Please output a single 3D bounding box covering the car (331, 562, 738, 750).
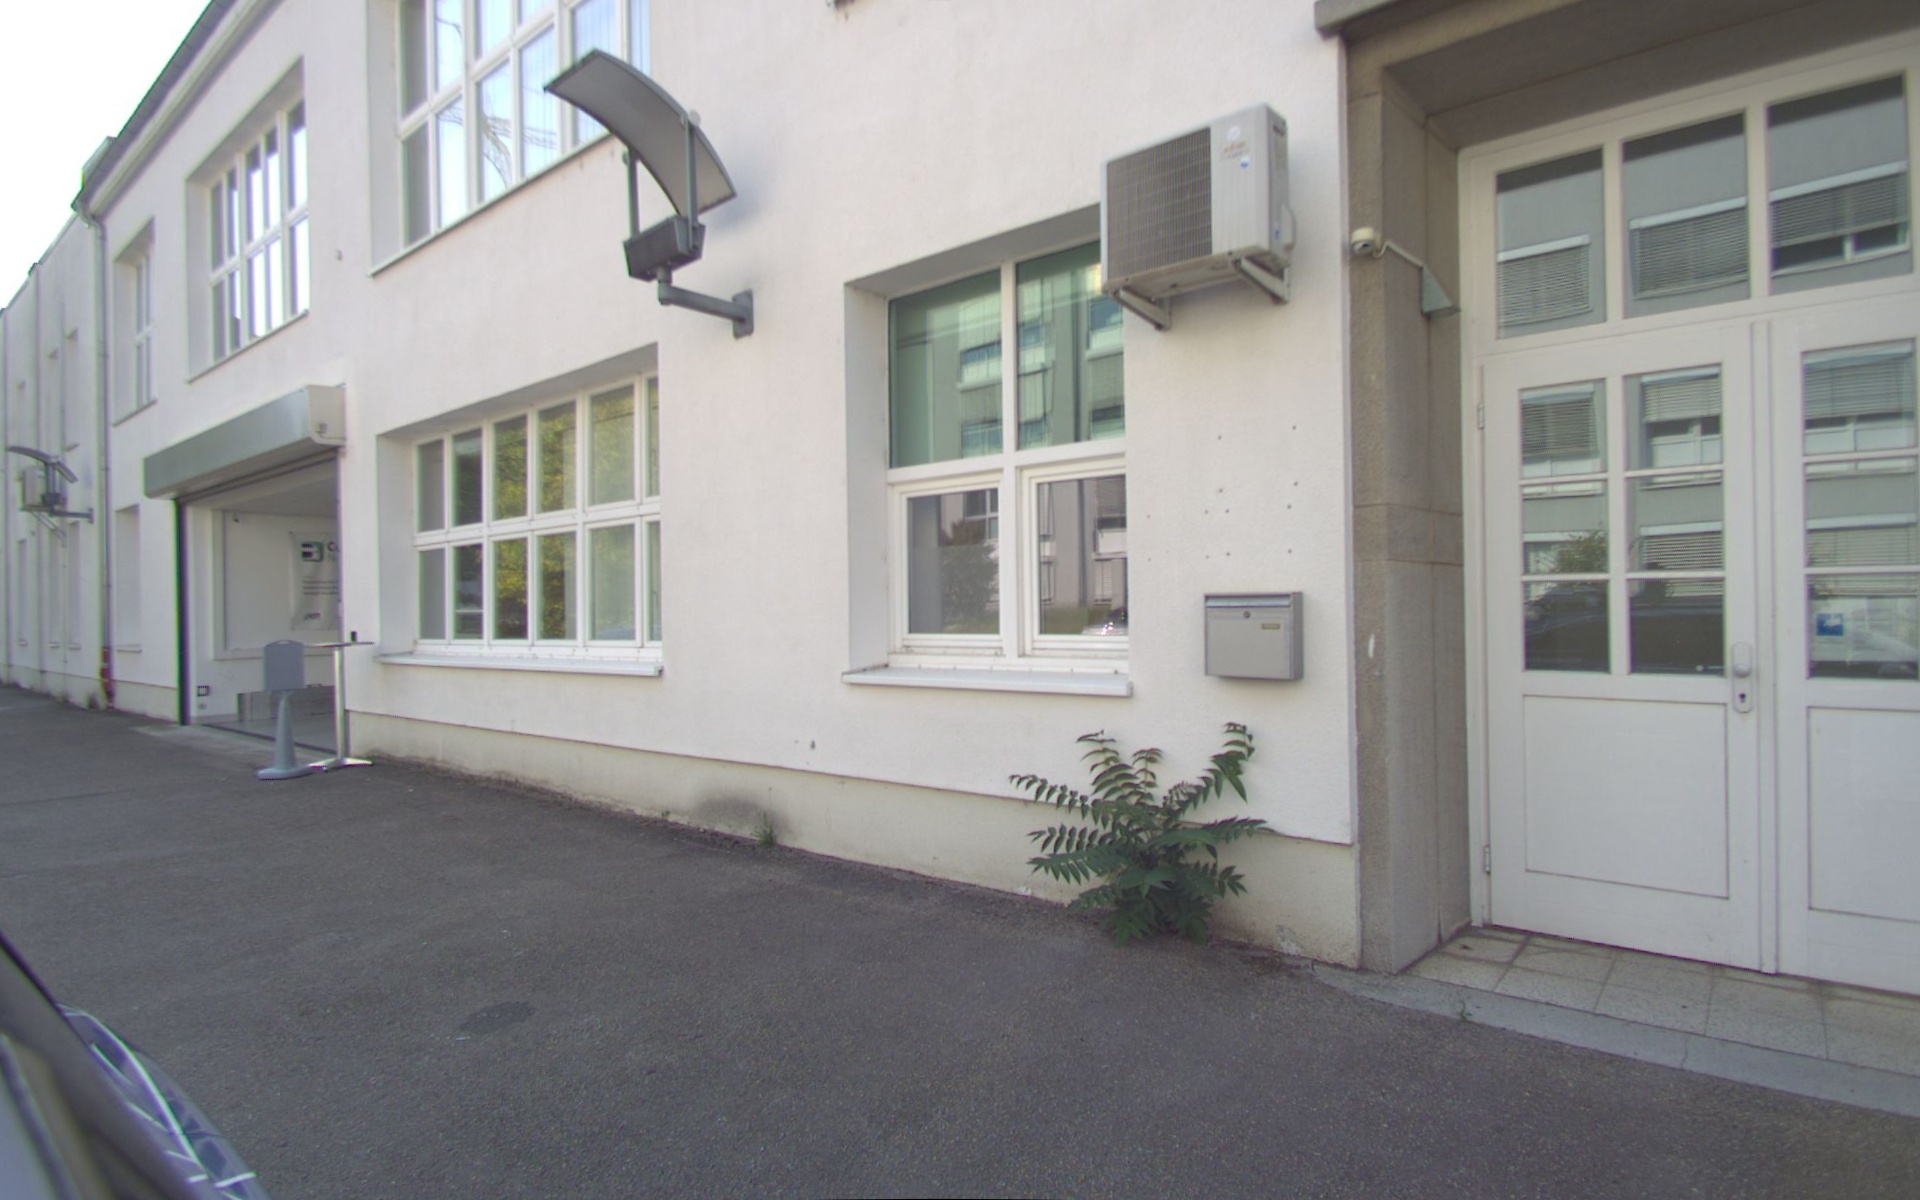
[{"bbox_3d":[-5.583,0.604,13.820,2.054,2.108,4.699,-1,0,40],"label":"car"}]
